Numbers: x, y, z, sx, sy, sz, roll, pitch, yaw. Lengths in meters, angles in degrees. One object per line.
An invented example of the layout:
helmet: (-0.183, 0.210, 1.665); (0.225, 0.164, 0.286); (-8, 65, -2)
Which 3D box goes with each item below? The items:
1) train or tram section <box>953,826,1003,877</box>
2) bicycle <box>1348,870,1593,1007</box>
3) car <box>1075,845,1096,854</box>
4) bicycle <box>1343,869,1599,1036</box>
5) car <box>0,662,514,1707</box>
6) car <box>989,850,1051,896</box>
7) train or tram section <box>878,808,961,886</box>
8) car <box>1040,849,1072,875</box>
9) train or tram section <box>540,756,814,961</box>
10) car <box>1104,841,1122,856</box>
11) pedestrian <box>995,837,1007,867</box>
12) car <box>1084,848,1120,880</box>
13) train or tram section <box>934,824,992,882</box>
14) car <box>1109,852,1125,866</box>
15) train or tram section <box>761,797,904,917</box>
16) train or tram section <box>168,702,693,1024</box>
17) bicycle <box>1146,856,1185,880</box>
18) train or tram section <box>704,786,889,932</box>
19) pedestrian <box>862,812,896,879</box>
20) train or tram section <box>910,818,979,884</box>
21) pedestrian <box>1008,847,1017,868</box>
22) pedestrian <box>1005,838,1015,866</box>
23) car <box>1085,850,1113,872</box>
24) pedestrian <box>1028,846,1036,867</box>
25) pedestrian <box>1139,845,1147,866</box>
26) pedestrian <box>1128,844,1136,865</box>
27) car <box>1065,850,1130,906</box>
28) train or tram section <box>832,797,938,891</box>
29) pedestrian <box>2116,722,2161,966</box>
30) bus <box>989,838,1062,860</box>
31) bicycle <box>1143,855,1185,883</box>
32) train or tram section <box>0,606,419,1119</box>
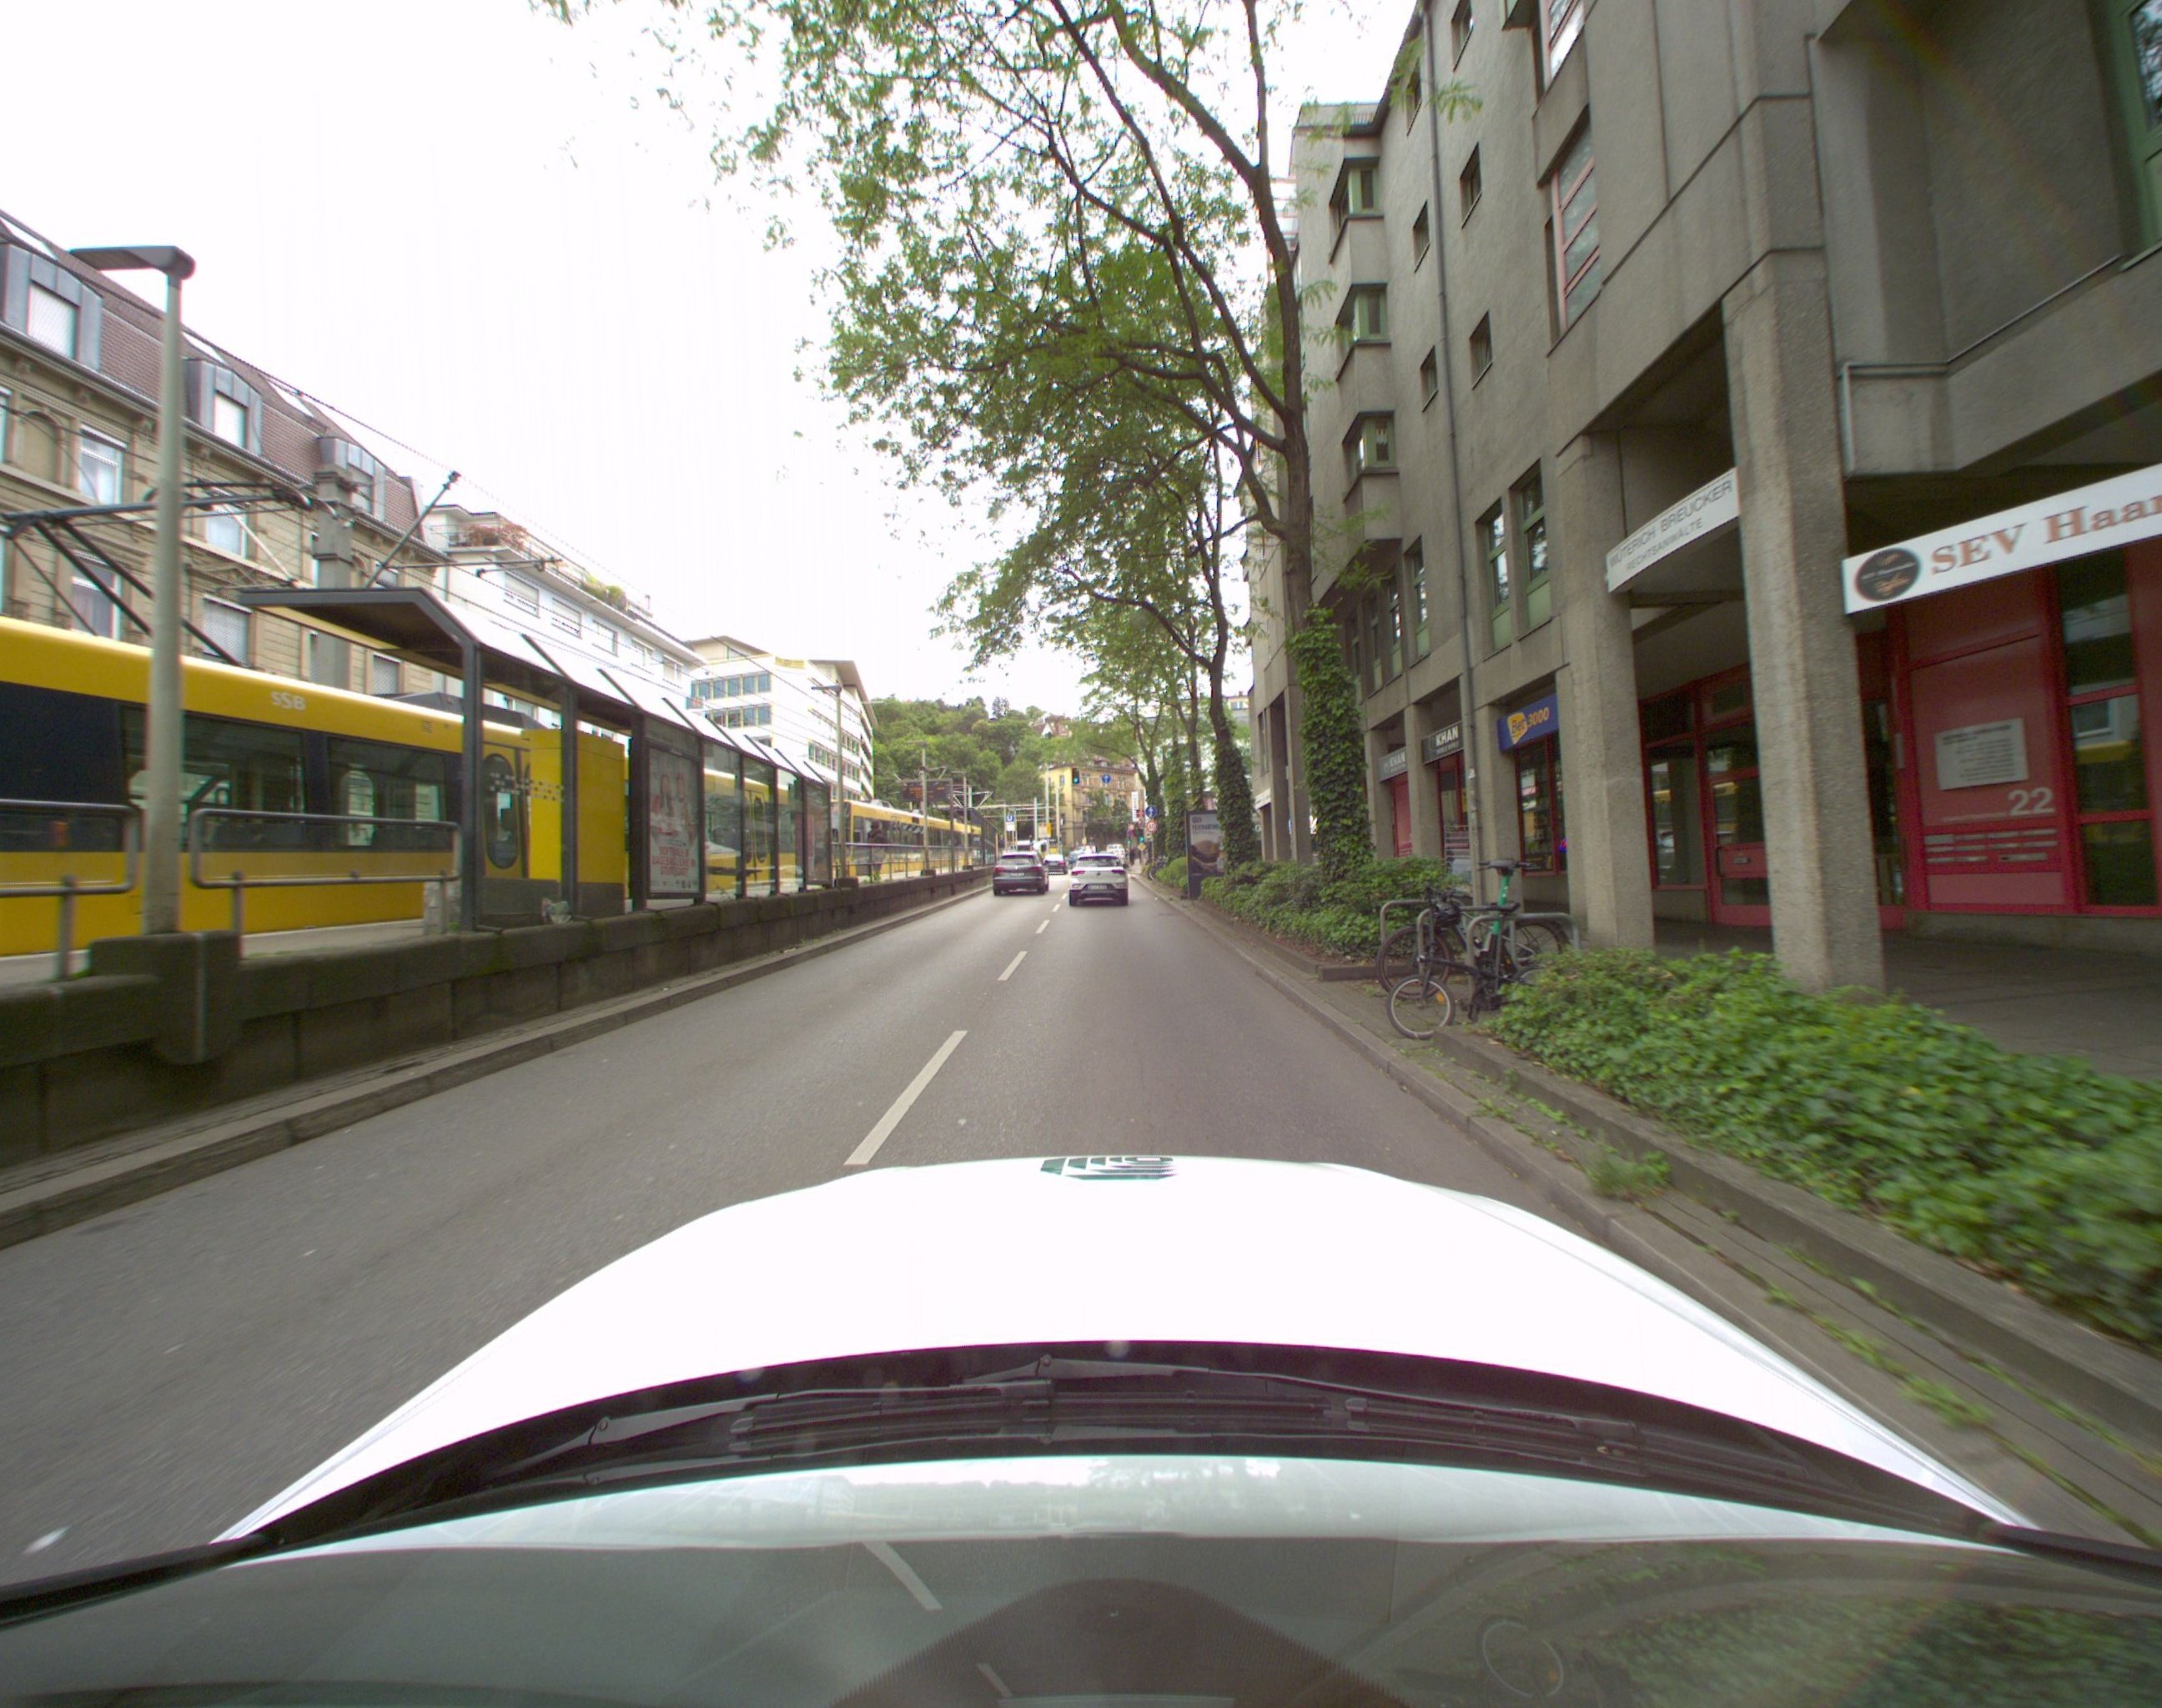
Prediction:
train or tram section: (-7.788, -0.111, 62.339); (2.803, 3.666, 6.752); (-1, -1, 1)
bicycle: (3.546, 0.750, 7.505); (1.910, 1.076, 0.613); (-4, -1, -1)
car: (0.891, -0.832, 148.283); (1.893, 1.689, 4.026); (0, 0, 35)
bicycle: (2.959, 0.735, 6.299); (1.612, 1.128, 0.614); (-4, -1, 5)
car: (-3.318, 0.619, 0.294); (2.354, 2.014, 5.152); (-1, -2, 4)
car: (-2.329, 0.710, 32.052); (1.986, 1.636, 4.001); (-1, 0, 1)
train or tram section: (-8.139, -0.288, 41.938); (2.803, 3.666, 6.752); (-1, -1, 1)
car: (-1.780, 0.637, 58.451); (1.903, 1.690, 4.003); (0, -3, 4)
train or tram section: (-8.287, 0.115, 17.687); (2.802, 3.666, 5.906); (-1, -1, 2)
car: (4.799, -0.792, 122.017); (2.353, 2.014, 5.155); (-1, -2, 5)
pedestrian: (-5.438, -0.147, 55.263); (0.761, 2.014, 0.837); (0, -2, -5)
car: (1.190, 0.585, 45.651); (1.878, 1.684, 4.162); (-1, -2, 2)
train or tram section: (-7.911, -0.054, 55.416); (2.803, 3.666, 6.752); (-1, -1, 1)
car: (4.576, 0.612, 103.323); (1.876, 1.684, 4.165); (-1, -2, 4)
train or tram section: (-8.371, 0.124, 28.390); (2.803, 3.666, 6.752); (-1, -1, 1)
train or tram section: (-8.548, 0.132, 11.848); (2.824, 3.521, 5.755); (-1, -1, 2)
bicycle: (4.129, 0.689, 39.765); (1.870, 1.137, 0.810); (-1, -2, 7)
train or tram section: (-8.016, 0.162, 24.016); (2.802, 3.666, 6.755); (-1, -1, 2)
pedestrian: (-5.468, -0.225, 22.060); (0.624, 1.762, 0.847); (-2, 0, 1)
train or tram section: (-8.031, -0.131, 48.672); (2.803, 3.666, 6.752); (-1, -1, 1)
pedestrian: (-6.510, 0.310, 77.793); (0.759, 2.014, 0.838); (-1, -2, 1)
pedestrian: (-5.176, -0.117, 59.357); (0.761, 2.014, 0.837); (0, -2, -5)
car: (1.480, 0.618, 68.206); (1.881, 1.684, 4.154); (0, -2, -5)
pedestrian: (-4.790, 0.226, 79.760); (0.759, 2.014, 0.839); (-1, -2, 2)
pedestrian: (5.811, 0.139, 76.405); (0.758, 2.014, 0.840); (-1, -2, 7)
pedestrian: (4.928, 0.091, 78.728); (0.758, 2.014, 0.840); (-1, -2, 7)
car: (0.592, 0.702, 25.652); (1.829, 1.584, 4.161); (-1, -1, 4)
train or tram section: (-8.267, -0.349, 35.182); (2.803, 3.666, 6.752); (-1, -1, 1)
pedestrian: (8.379, -0.088, 5.875); (0.828, 1.803, 0.724); (-4, 1, 4)
bus: (-9.124, -0.778, 131.282); (13.154, 3.065, 3.403); (-2, -2, 41)
bicycle: (3.906, 0.708, 38.277); (1.868, 1.266, 0.767); (-1, -2, 12)
train or tram section: (-8.808, 0.073, 6.091); (2.824, 3.521, 5.755); (-1, -1, 2)
